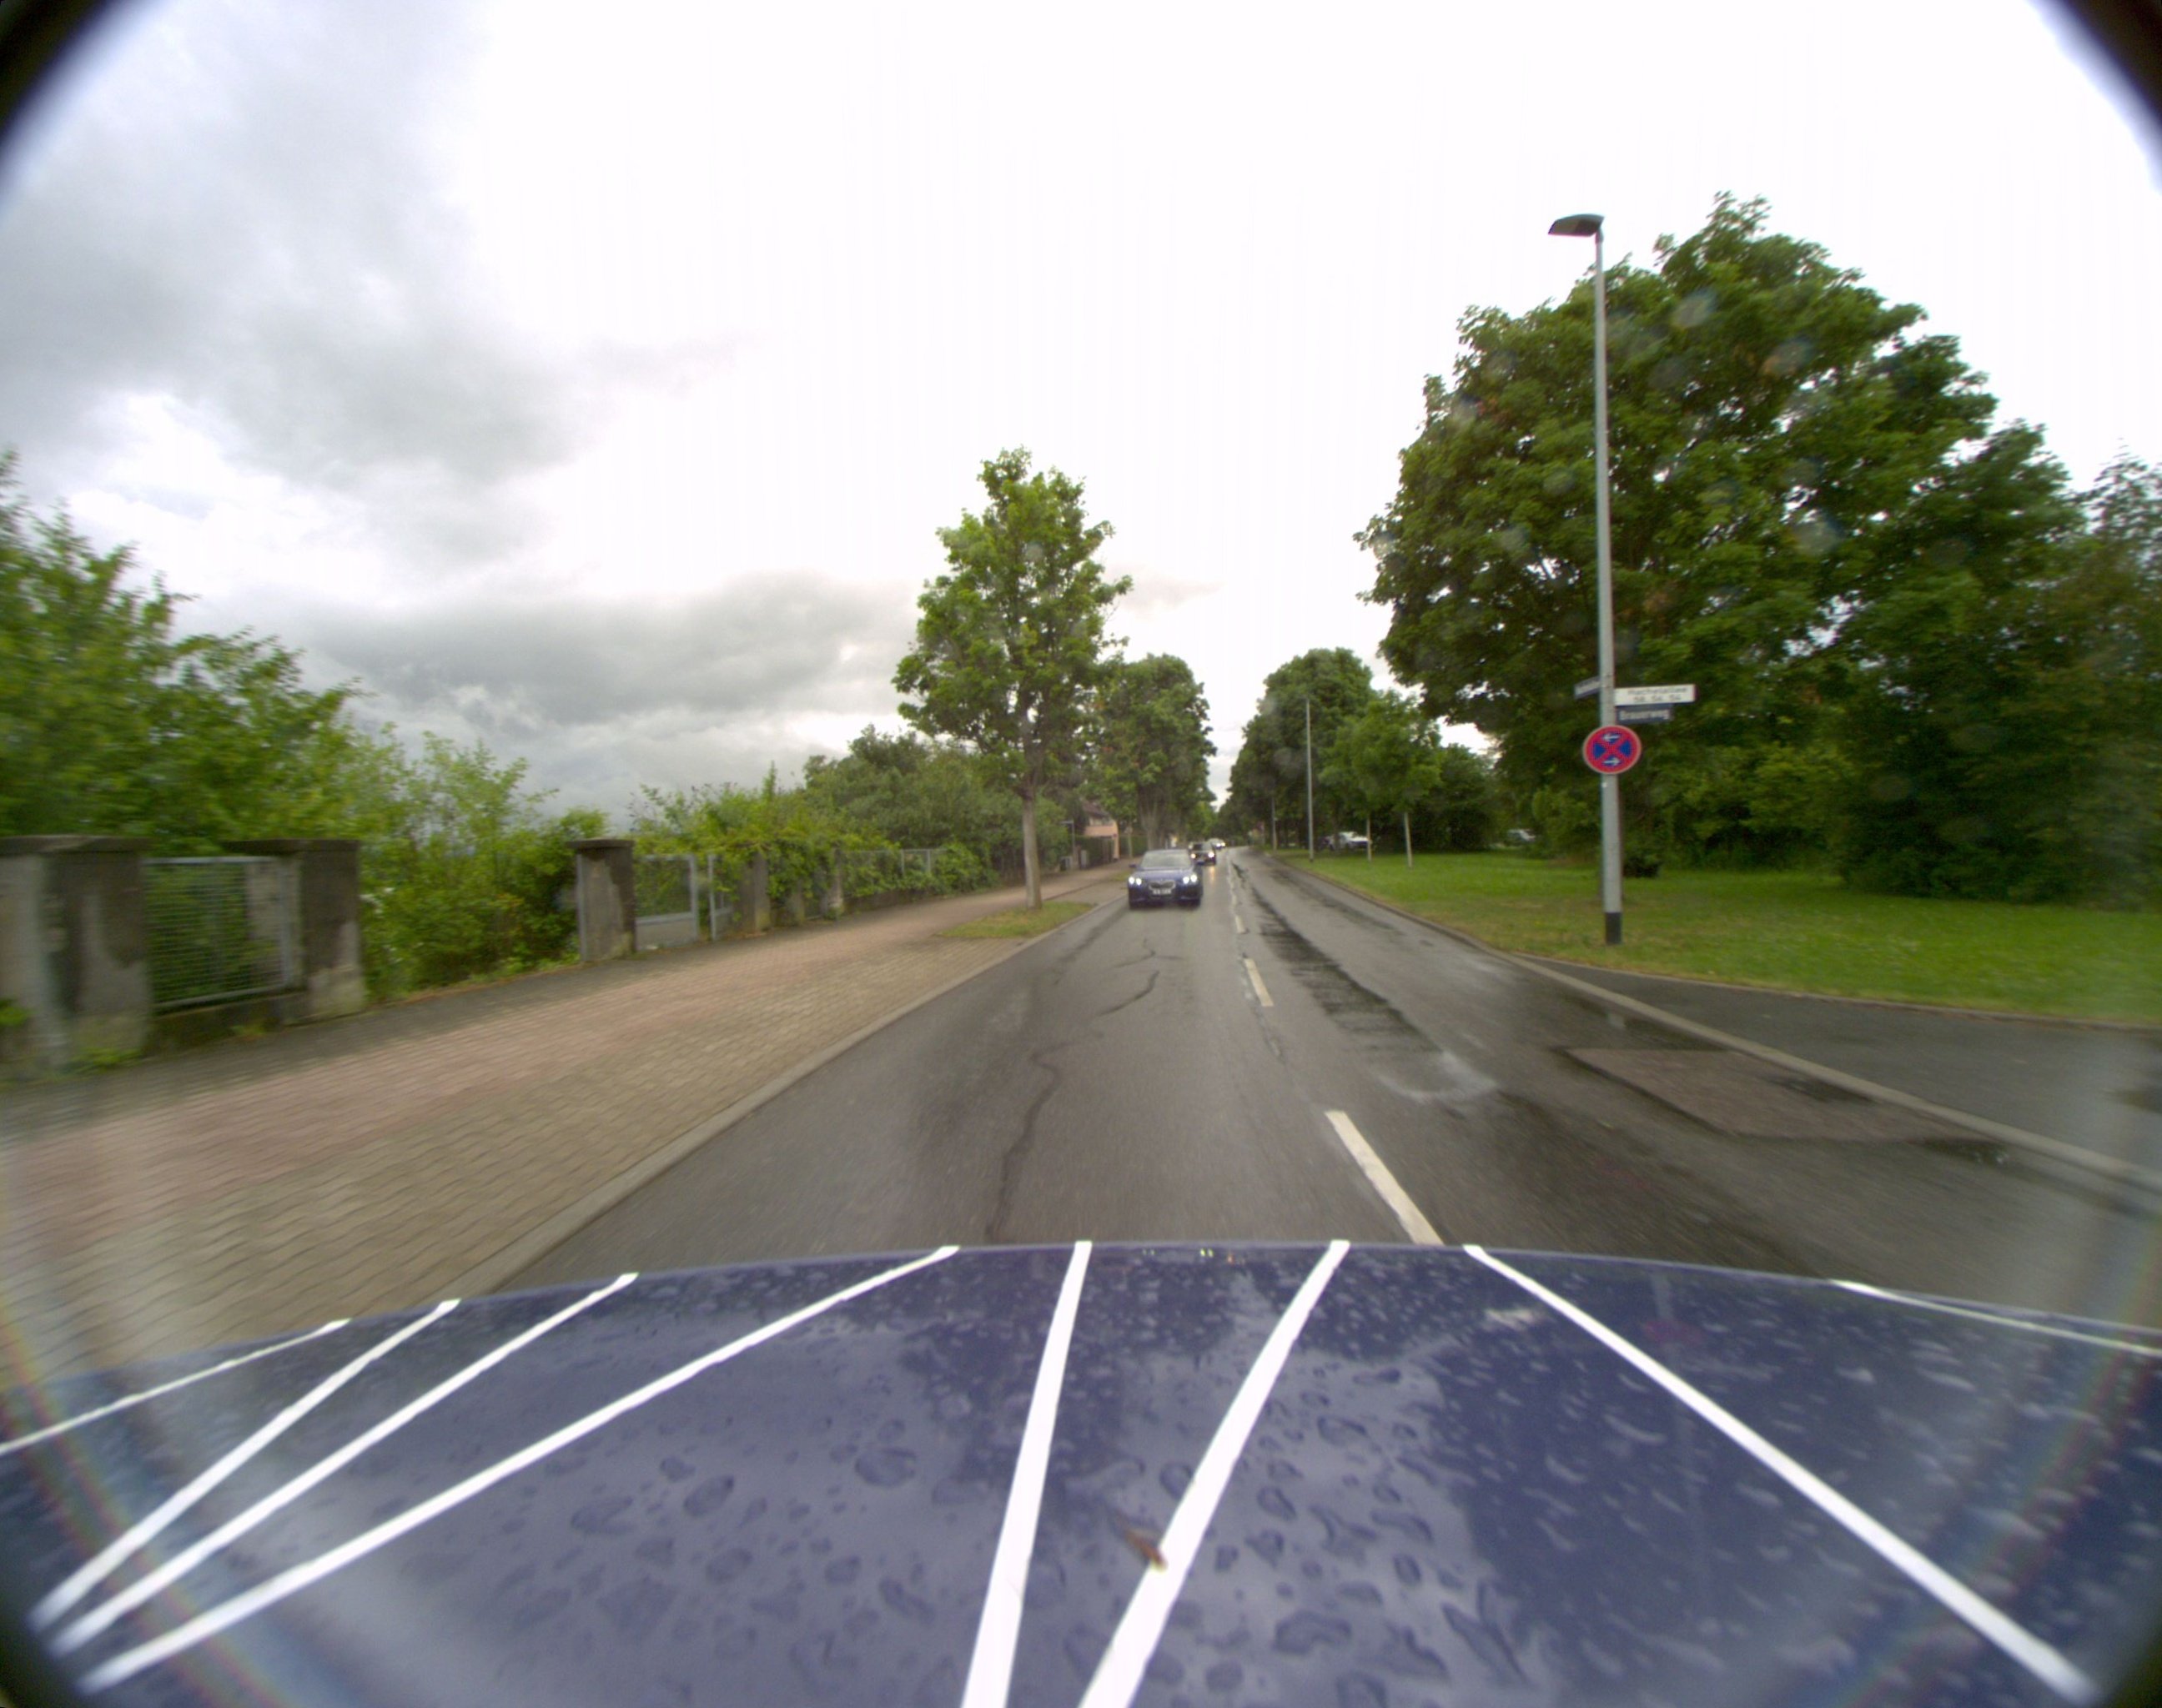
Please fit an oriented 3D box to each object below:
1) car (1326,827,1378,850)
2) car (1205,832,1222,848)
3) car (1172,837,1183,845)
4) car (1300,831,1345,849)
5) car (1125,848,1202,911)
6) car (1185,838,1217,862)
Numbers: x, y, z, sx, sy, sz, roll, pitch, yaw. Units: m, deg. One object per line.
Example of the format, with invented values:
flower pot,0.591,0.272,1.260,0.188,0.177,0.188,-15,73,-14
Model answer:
car,20.139,-1.145,56.632,1.887,1.421,4.215,-2,-1,-7
car,17.484,-1.868,100.162,1.997,1.848,4.002,-5,1,11
car,17.467,-2.375,137.123,1.665,1.414,4.003,-5,0,12
car,21.511,-1.258,67.869,1.895,1.505,4.243,-2,1,-14
car,2.345,0.625,20.711,1.814,1.460,3.977,-1,1,10
car,7.897,-0.293,50.293,1.928,1.374,4.309,-5,1,8
